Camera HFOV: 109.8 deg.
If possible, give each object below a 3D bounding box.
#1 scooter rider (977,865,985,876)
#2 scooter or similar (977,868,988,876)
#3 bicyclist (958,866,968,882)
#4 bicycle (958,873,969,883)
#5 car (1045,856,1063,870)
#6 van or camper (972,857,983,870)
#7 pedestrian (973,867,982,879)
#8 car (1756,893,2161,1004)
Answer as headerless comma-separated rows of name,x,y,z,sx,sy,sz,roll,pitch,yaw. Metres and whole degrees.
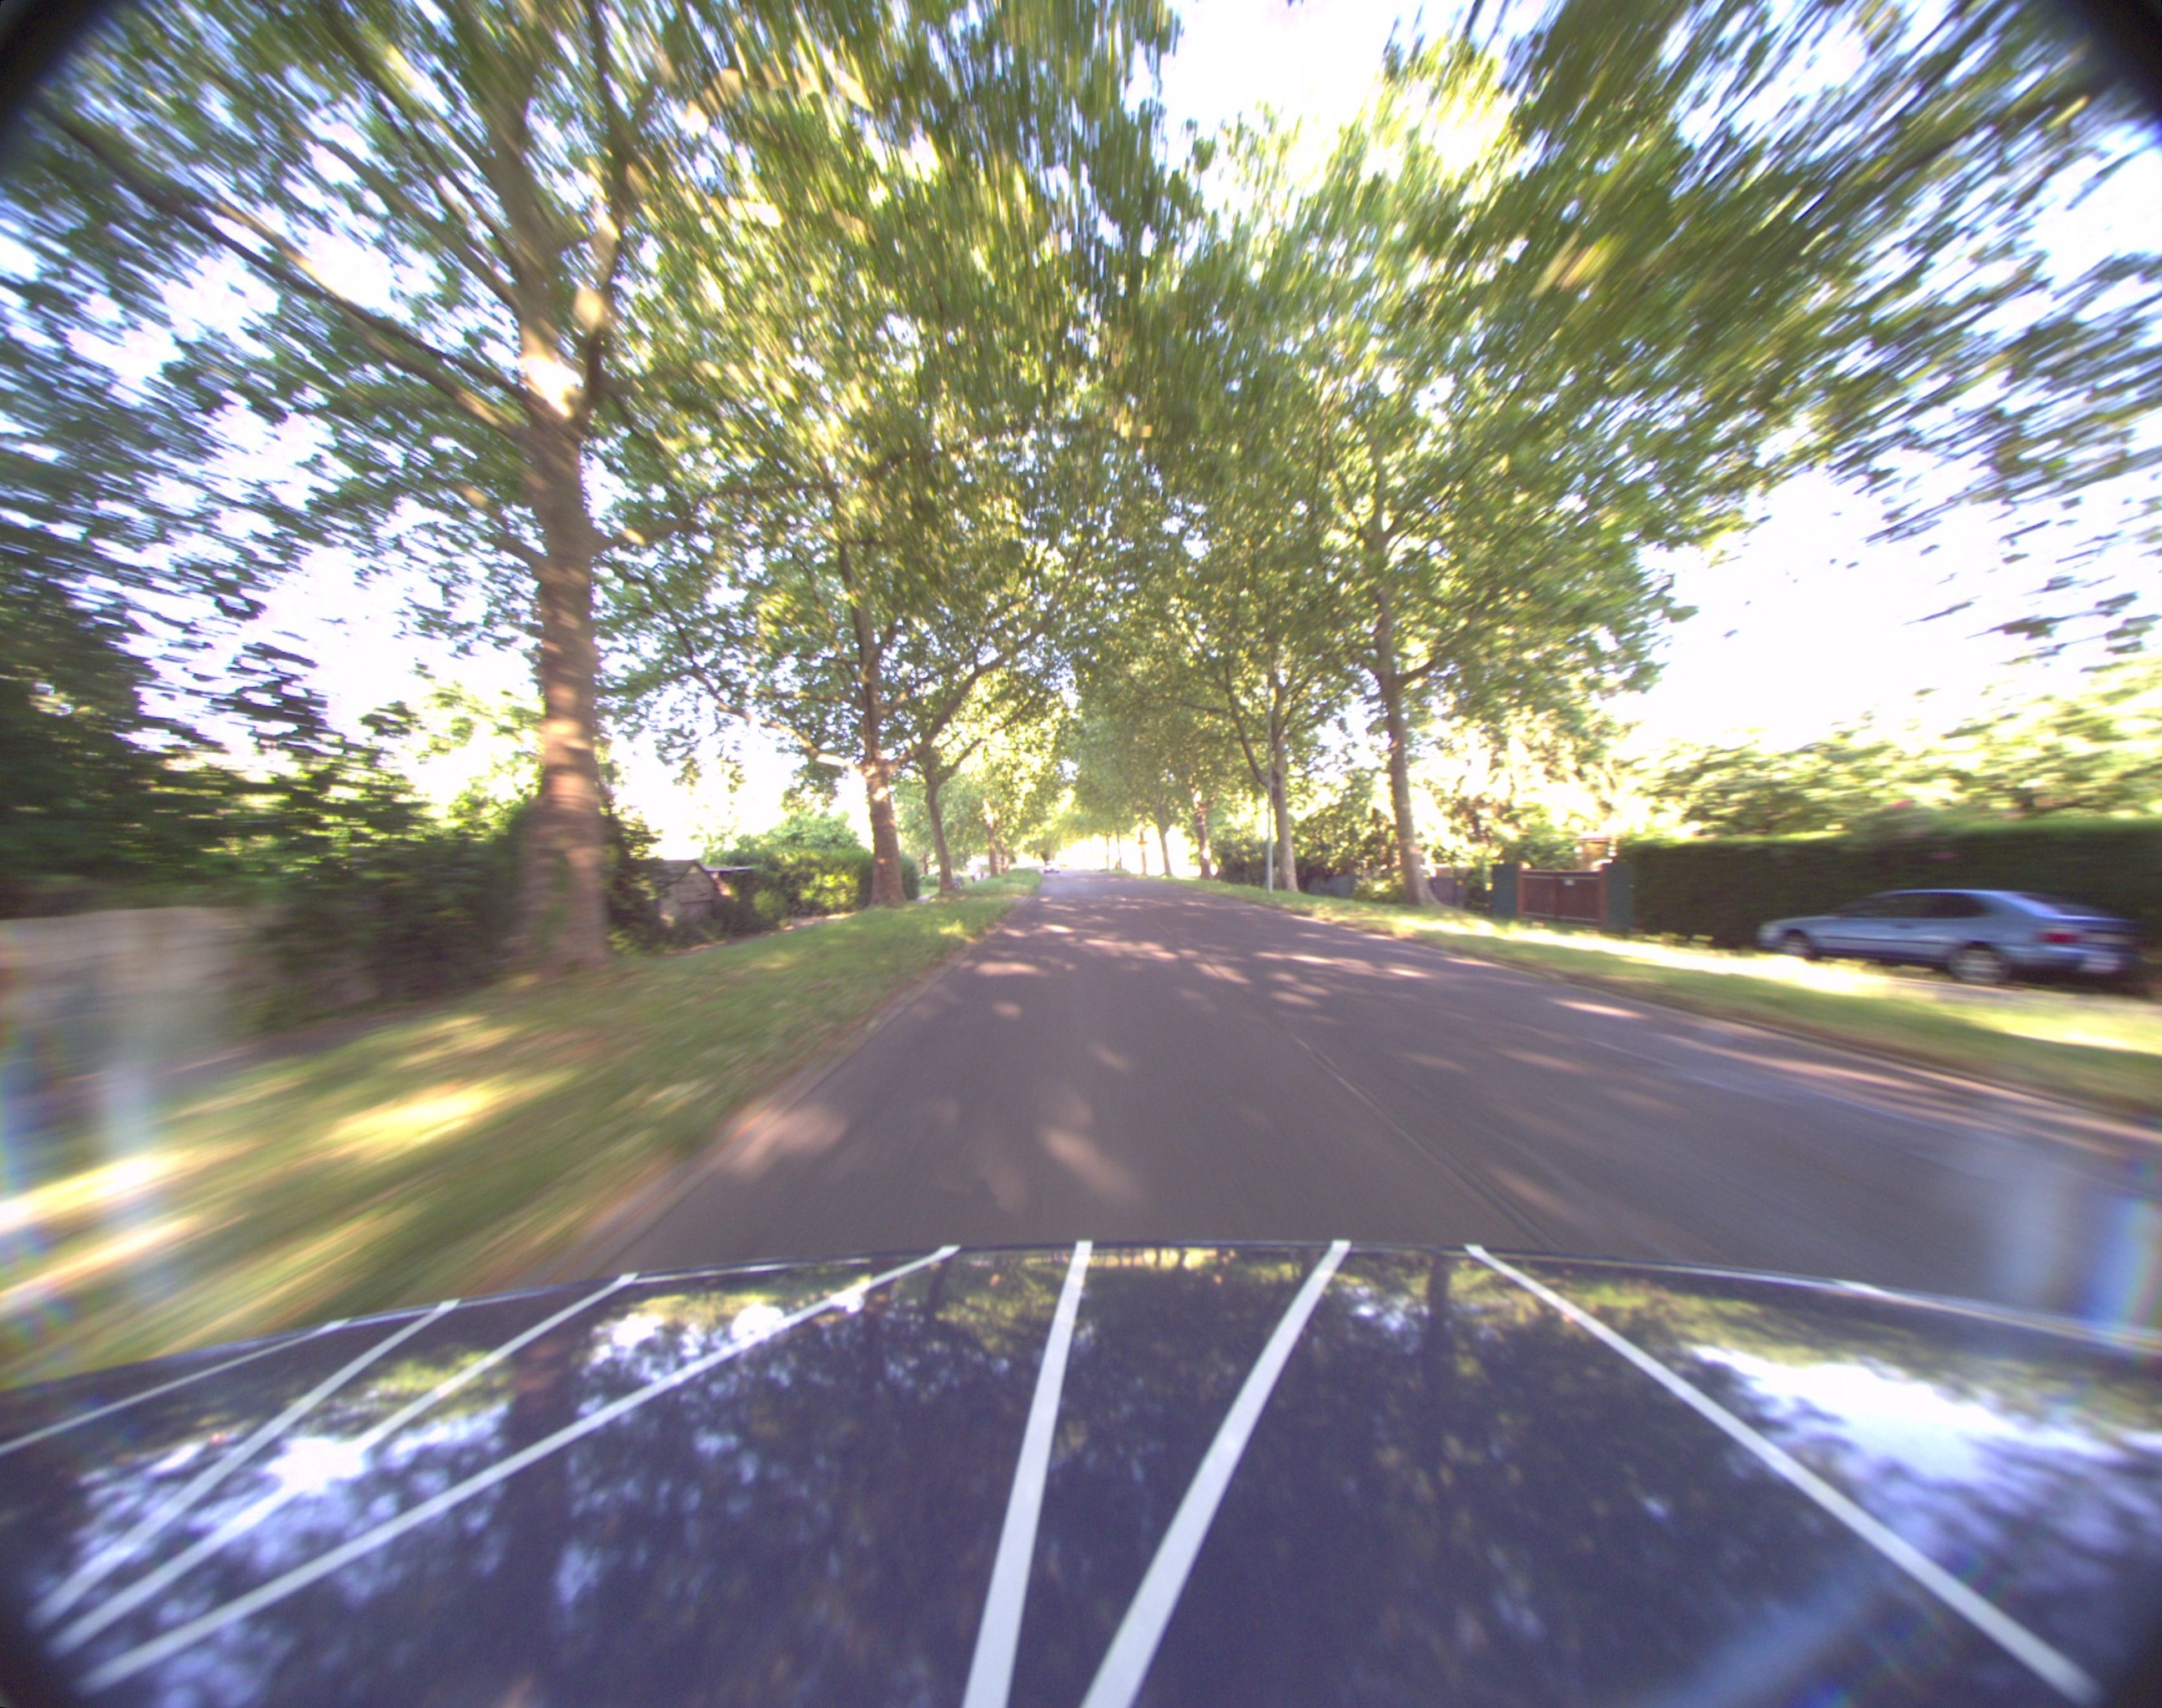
scooter rider,-14.208,2.313,107.862,0.782,1.567,0.846,-3,-1,41
scooter or similar,-13.978,2.525,108.071,1.602,1.128,0.340,-2,1,-43
bicyclist,-10.251,1.716,66.020,0.735,1.358,0.771,-2,1,3
bicycle,-10.235,2.061,66.177,0.553,0.812,1.889,-2,1,3
car,-3.399,1.056,95.309,1.999,1.655,3.998,-2,0,-5
van or camper,-24.852,2.276,182.396,2.388,2.783,5.680,-2,1,-8
pedestrian,-13.390,2.451,98.020,0.843,1.567,0.786,-1,1,22
car,13.208,1.312,11.803,1.757,1.296,3.999,0,-1,-4
